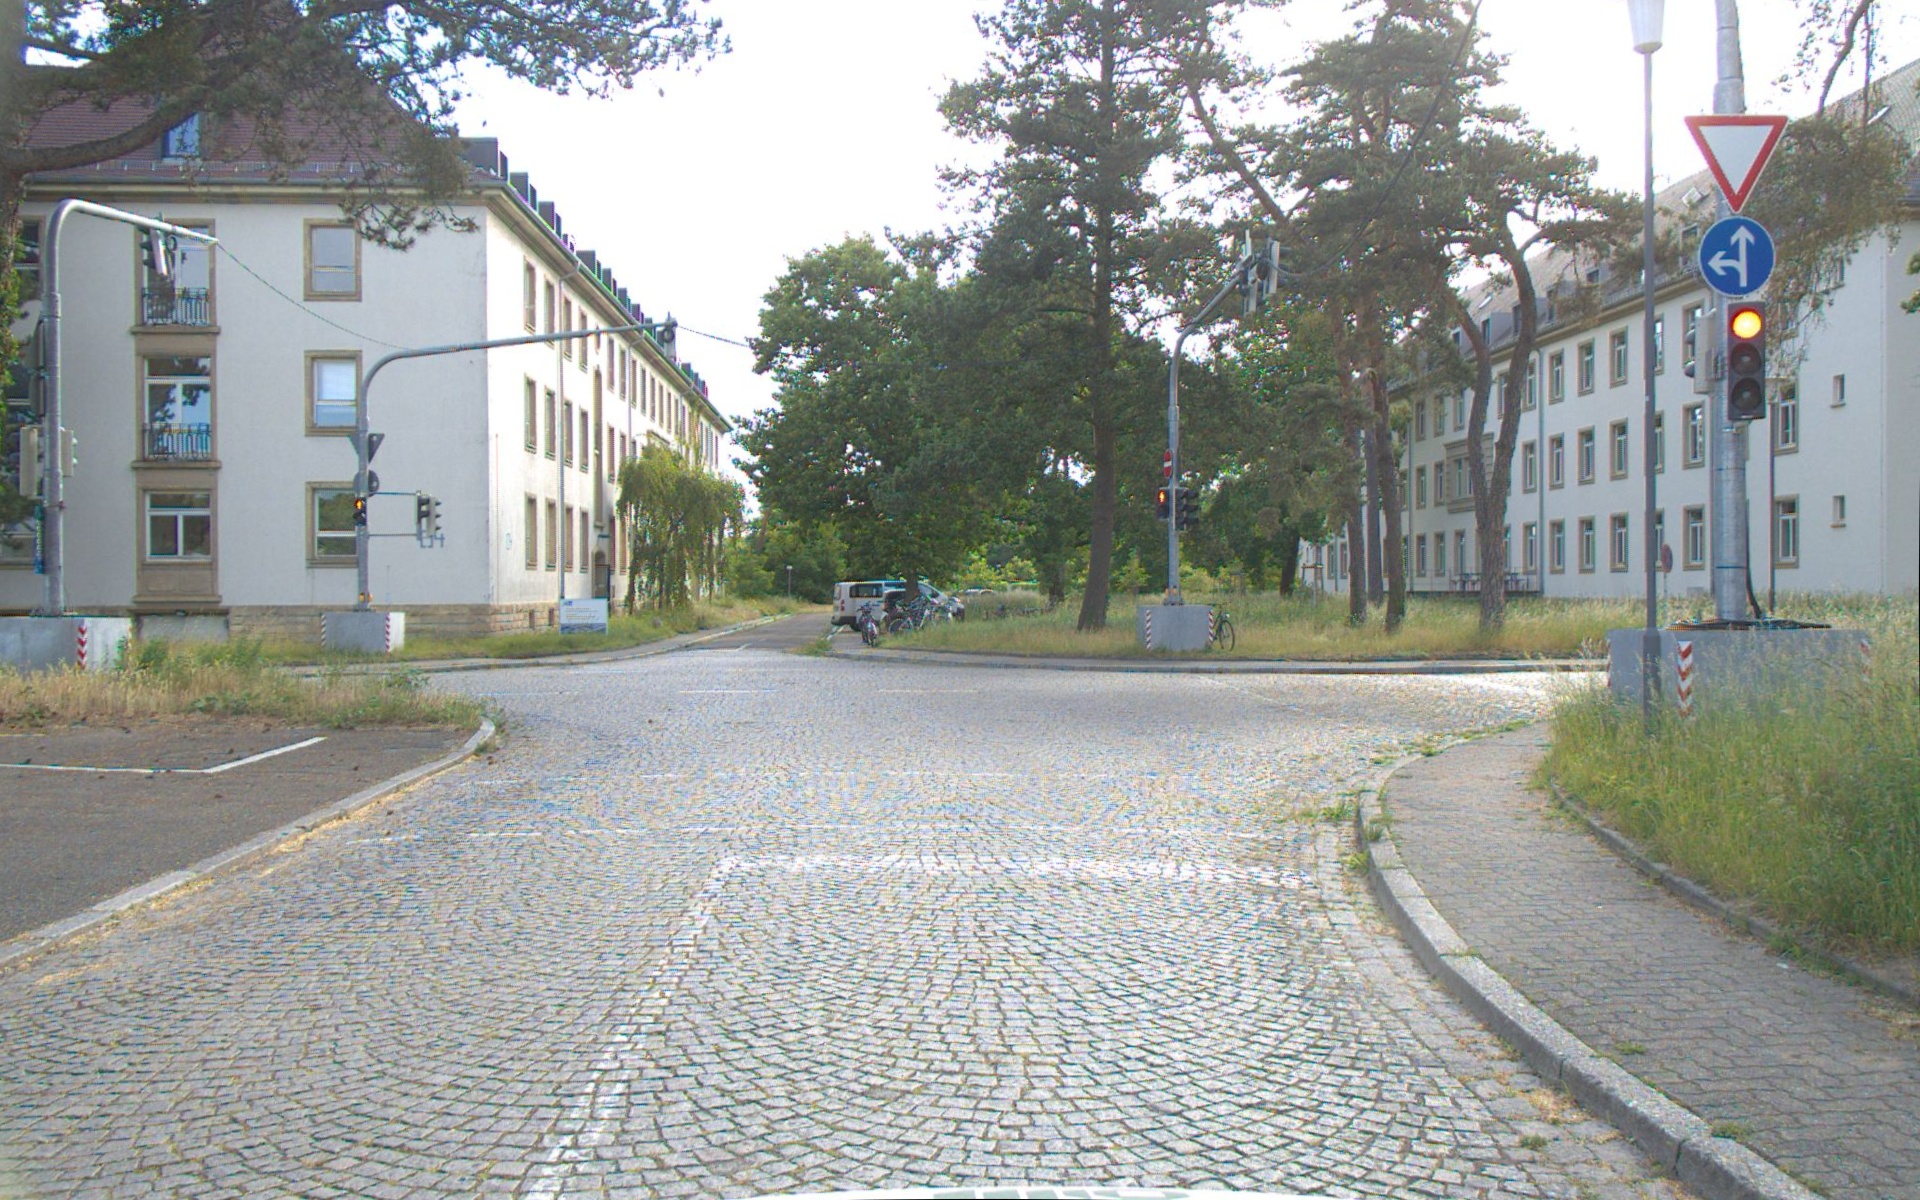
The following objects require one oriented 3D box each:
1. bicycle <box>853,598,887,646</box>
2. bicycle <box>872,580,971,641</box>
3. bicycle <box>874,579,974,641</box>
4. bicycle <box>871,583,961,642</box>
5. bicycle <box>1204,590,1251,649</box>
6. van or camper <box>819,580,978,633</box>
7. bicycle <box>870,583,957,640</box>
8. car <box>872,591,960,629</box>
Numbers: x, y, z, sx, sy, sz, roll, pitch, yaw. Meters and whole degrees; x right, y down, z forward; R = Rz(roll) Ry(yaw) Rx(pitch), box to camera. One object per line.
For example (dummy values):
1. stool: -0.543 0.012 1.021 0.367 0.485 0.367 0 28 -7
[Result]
1. bicycle: -2.310 0.545 42.610 0.711 1.127 2.461 -5 0 -1
2. bicycle: -1.128 0.301 48.151 2.725 1.723 1.117 0 0 -10
3. bicycle: -1.046 0.278 46.960 2.724 1.723 1.118 0 0 -9
4. bicycle: -1.350 0.383 51.708 2.718 1.723 1.120 2 0 1
5. bicycle: 5.730 0.402 35.507 0.709 1.189 2.738 1 0 4
6. van or camper: -2.426 0.217 64.873 5.935 1.983 1.991 -1 0 -17
7. bicycle: -1.496 0.363 53.039 2.719 1.723 1.120 2 0 -2
8. car: -1.639 0.351 61.334 3.079 1.378 1.617 0 0 -9
